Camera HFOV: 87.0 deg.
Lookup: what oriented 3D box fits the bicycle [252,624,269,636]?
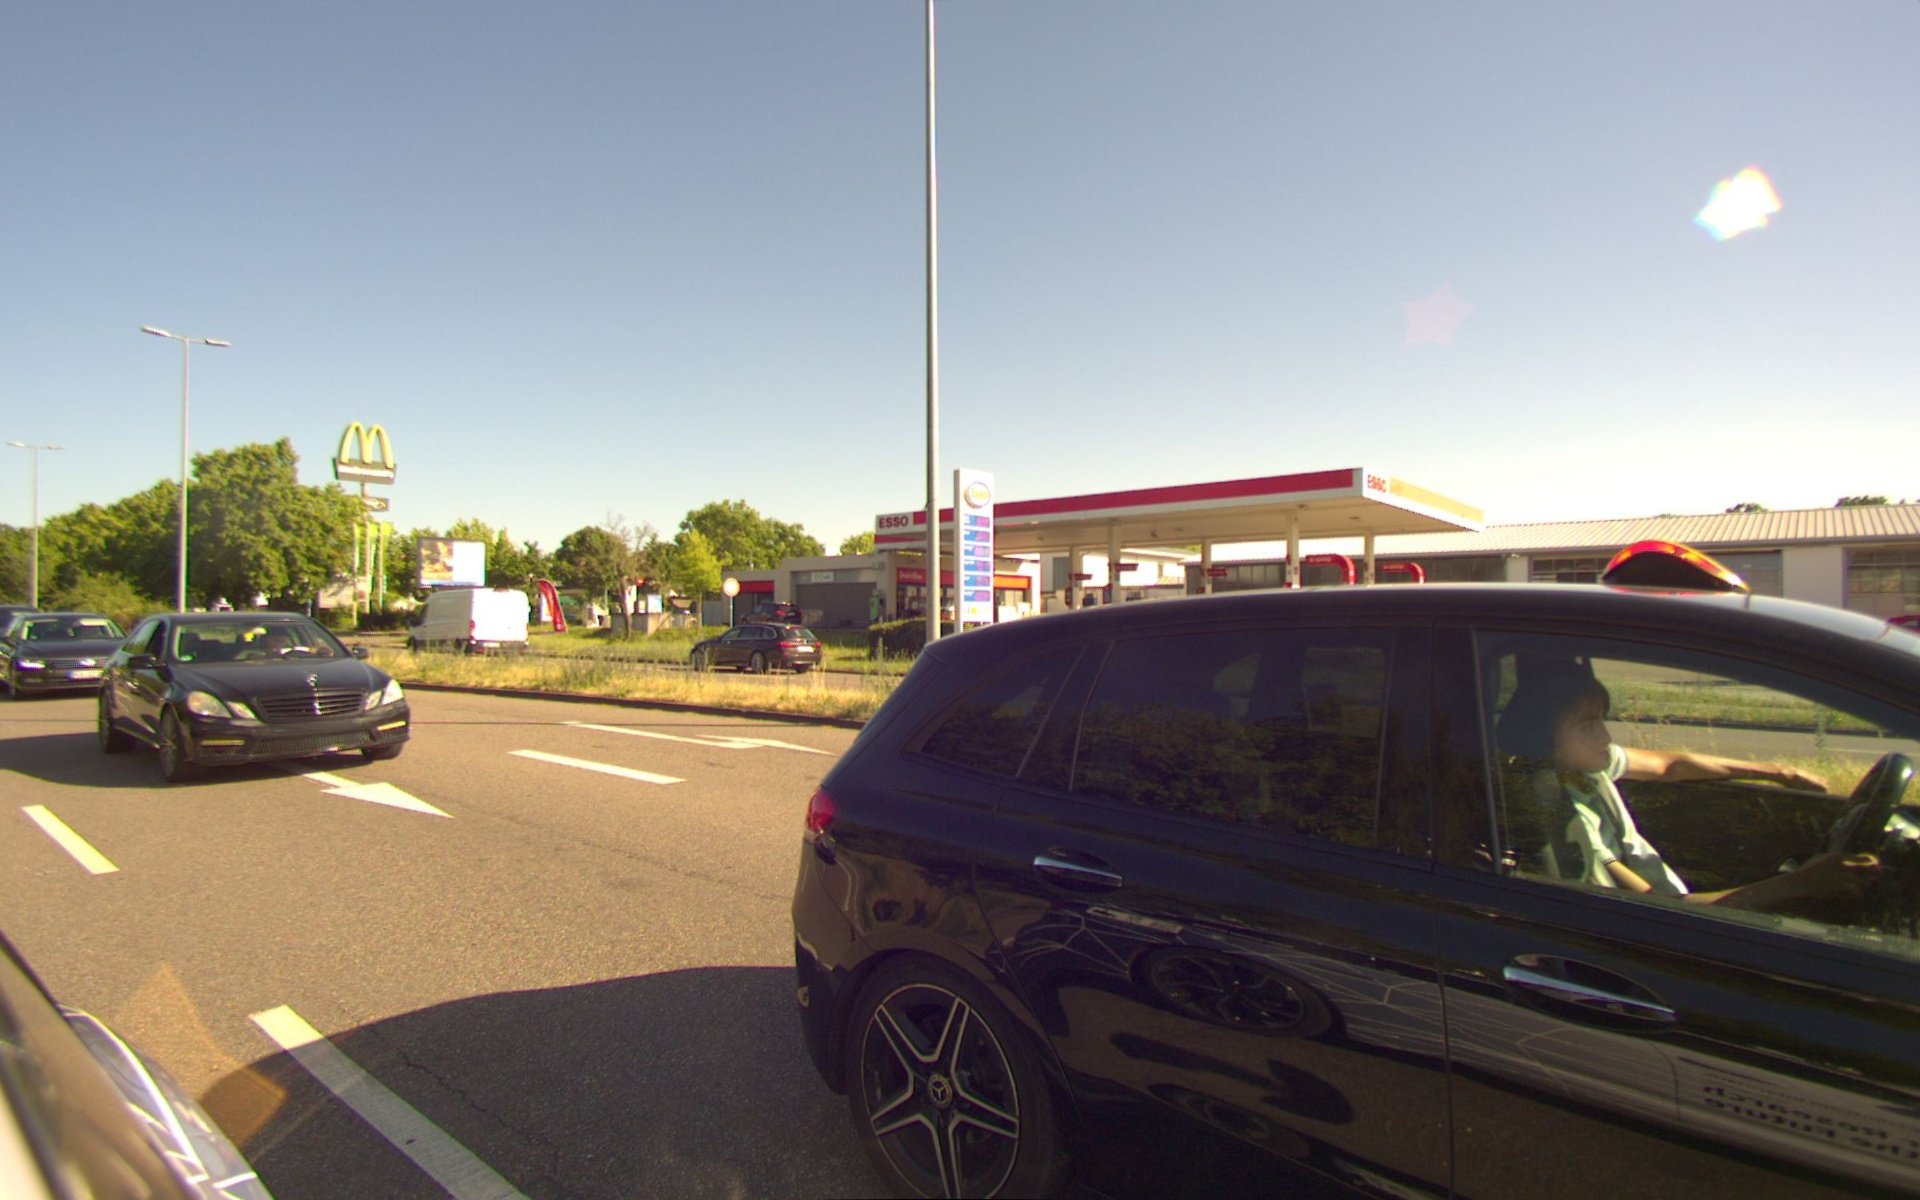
[{"bbox_3d":[-51.974,2.219,75.189,1.741,0.874,0.621,0,0,42],"label":"bicycle"}]

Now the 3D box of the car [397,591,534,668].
[{"bbox_3d":[-17.378,1.014,35.429,5.817,2.466,2.002,0,-4,40],"label":"car"}]

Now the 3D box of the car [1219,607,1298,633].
[{"bbox_3d":[16.899,1.124,57.370,3.975,1.420,1.661,0,-3,40],"label":"car"}]

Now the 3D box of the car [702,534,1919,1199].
[{"bbox_3d":[1.530,0.664,2.022,4.400,1.501,1.741,0,0,40],"label":"car"}]

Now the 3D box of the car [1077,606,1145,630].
[{"bbox_3d":[9.490,1.133,63.903,3.975,1.420,1.661,0,-3,40],"label":"car"}]

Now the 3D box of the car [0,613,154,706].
[{"bbox_3d":[-16.192,0.985,18.251,4.284,1.438,1.775,-1,0,40],"label":"car"}]

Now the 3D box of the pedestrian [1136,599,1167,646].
[{"bbox_3d":[7.286,0.843,38.559,0.903,1.763,0.780,0,0,40],"label":"pedestrian"}]

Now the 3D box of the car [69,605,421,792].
[{"bbox_3d":[-7.306,0.792,10.170,4.400,1.449,1.845,0,0,40],"label":"car"}]

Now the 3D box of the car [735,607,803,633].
[{"bbox_3d":[-10.850,1.120,57.416,3.975,1.420,1.661,0,-3,40],"label":"car"}]

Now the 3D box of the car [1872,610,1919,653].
[{"bbox_3d":[36.041,1.149,36.920,1.757,1.528,4.003,-1,0,-44],"label":"car"}]

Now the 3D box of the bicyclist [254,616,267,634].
[{"bbox_3d":[-52.009,1.878,75.234,0.700,1.298,0.621,0,0,42],"label":"bicyclist"}]

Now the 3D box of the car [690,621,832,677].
[{"bbox_3d":[-6.025,1.432,30.354,4.476,1.502,1.740,0,-4,41],"label":"car"}]

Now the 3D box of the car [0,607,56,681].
[{"bbox_3d":[-22.810,1.001,23.901,3.876,1.629,1.653,-1,0,40],"label":"car"}]

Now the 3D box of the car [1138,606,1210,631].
[{"bbox_3d":[12.892,1.127,61.107,3.975,1.420,1.661,0,-3,40],"label":"car"}]
